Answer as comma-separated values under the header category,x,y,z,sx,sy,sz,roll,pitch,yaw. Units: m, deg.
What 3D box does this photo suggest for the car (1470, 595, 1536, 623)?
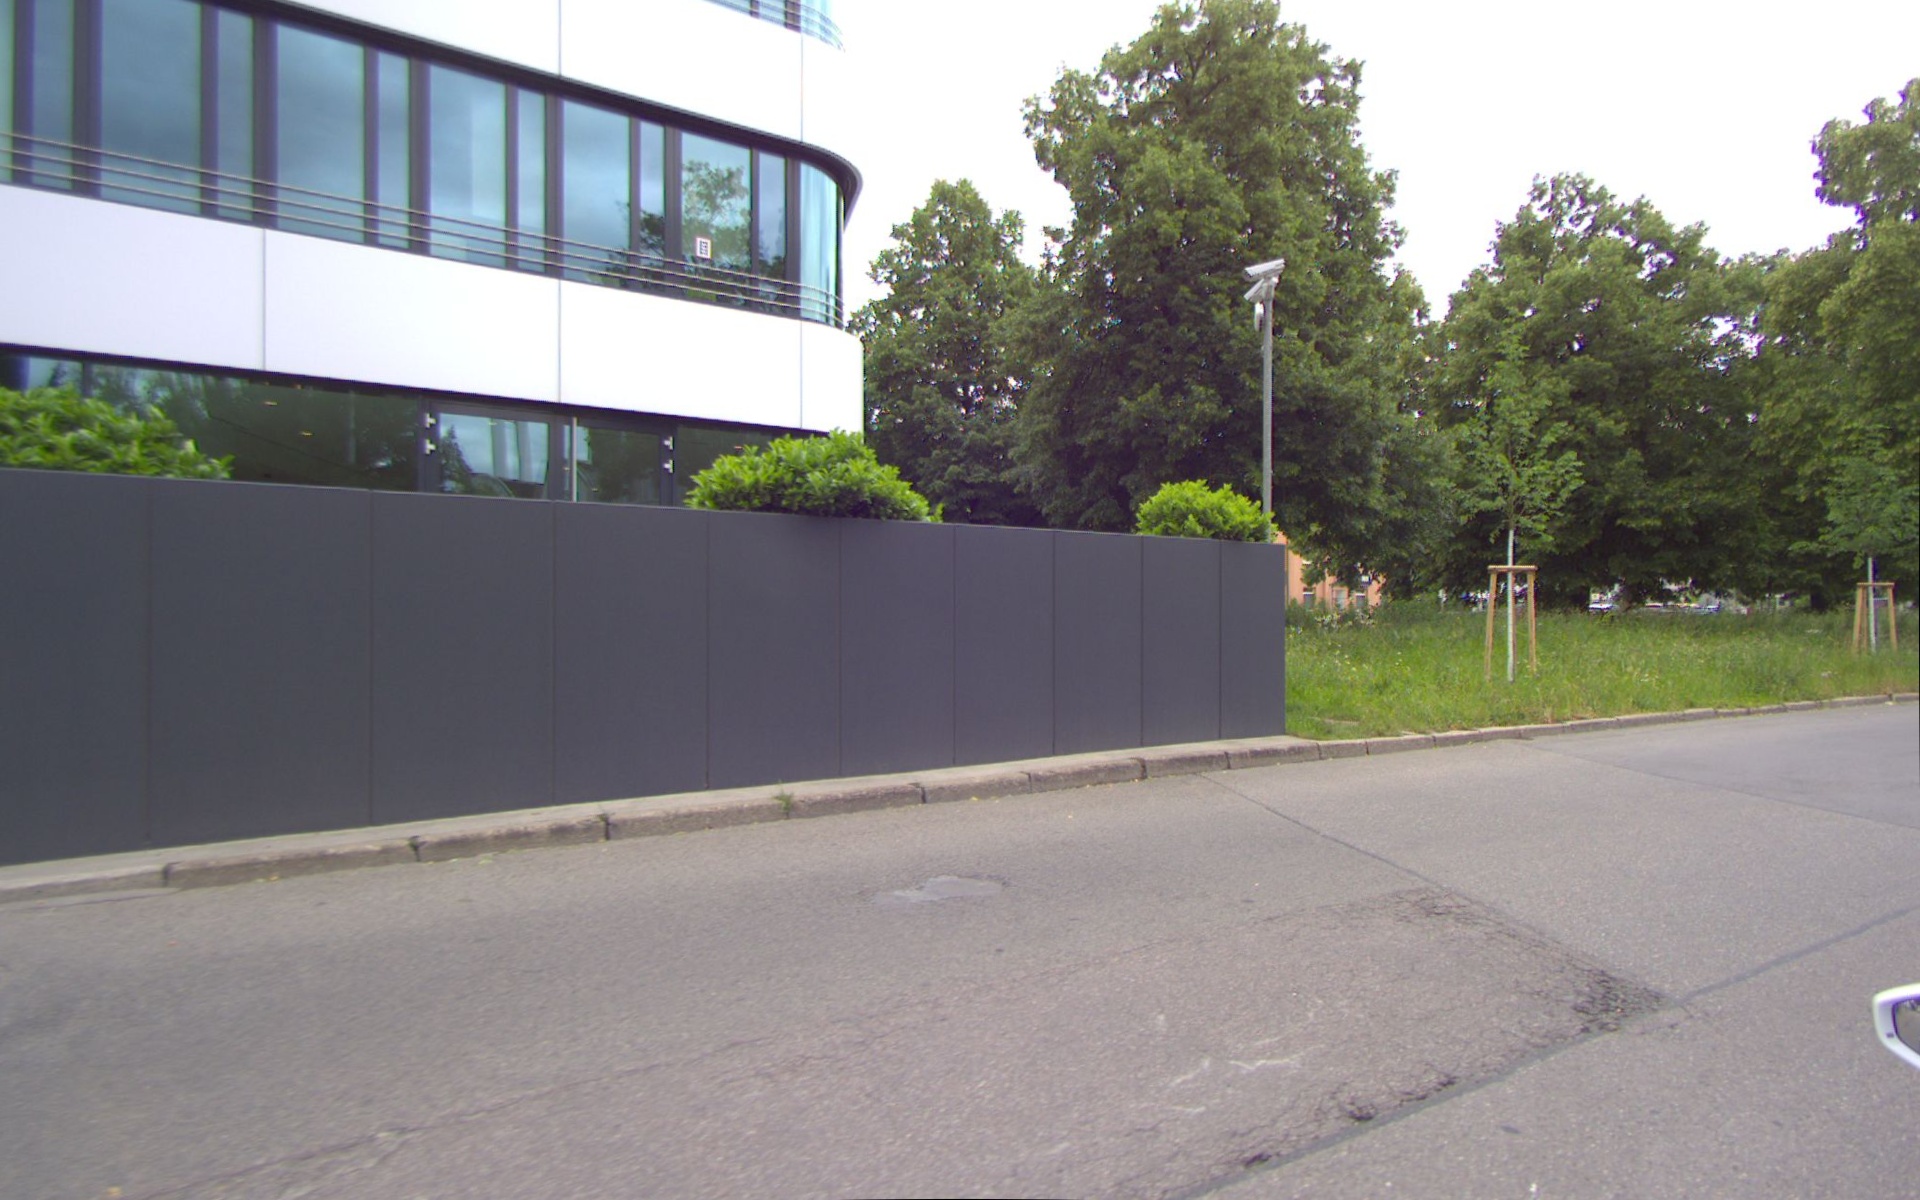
category,x,y,z,sx,sy,sz,roll,pitch,yaw
car,27.127,0.452,50.160,2.842,1.367,1.552,0,-1,-27

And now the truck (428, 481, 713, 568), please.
category,x,y,z,sx,sy,sz,roll,pitch,yaw
truck,-14.886,-2.759,39.350,2.942,2.555,10.186,-1,-1,44
